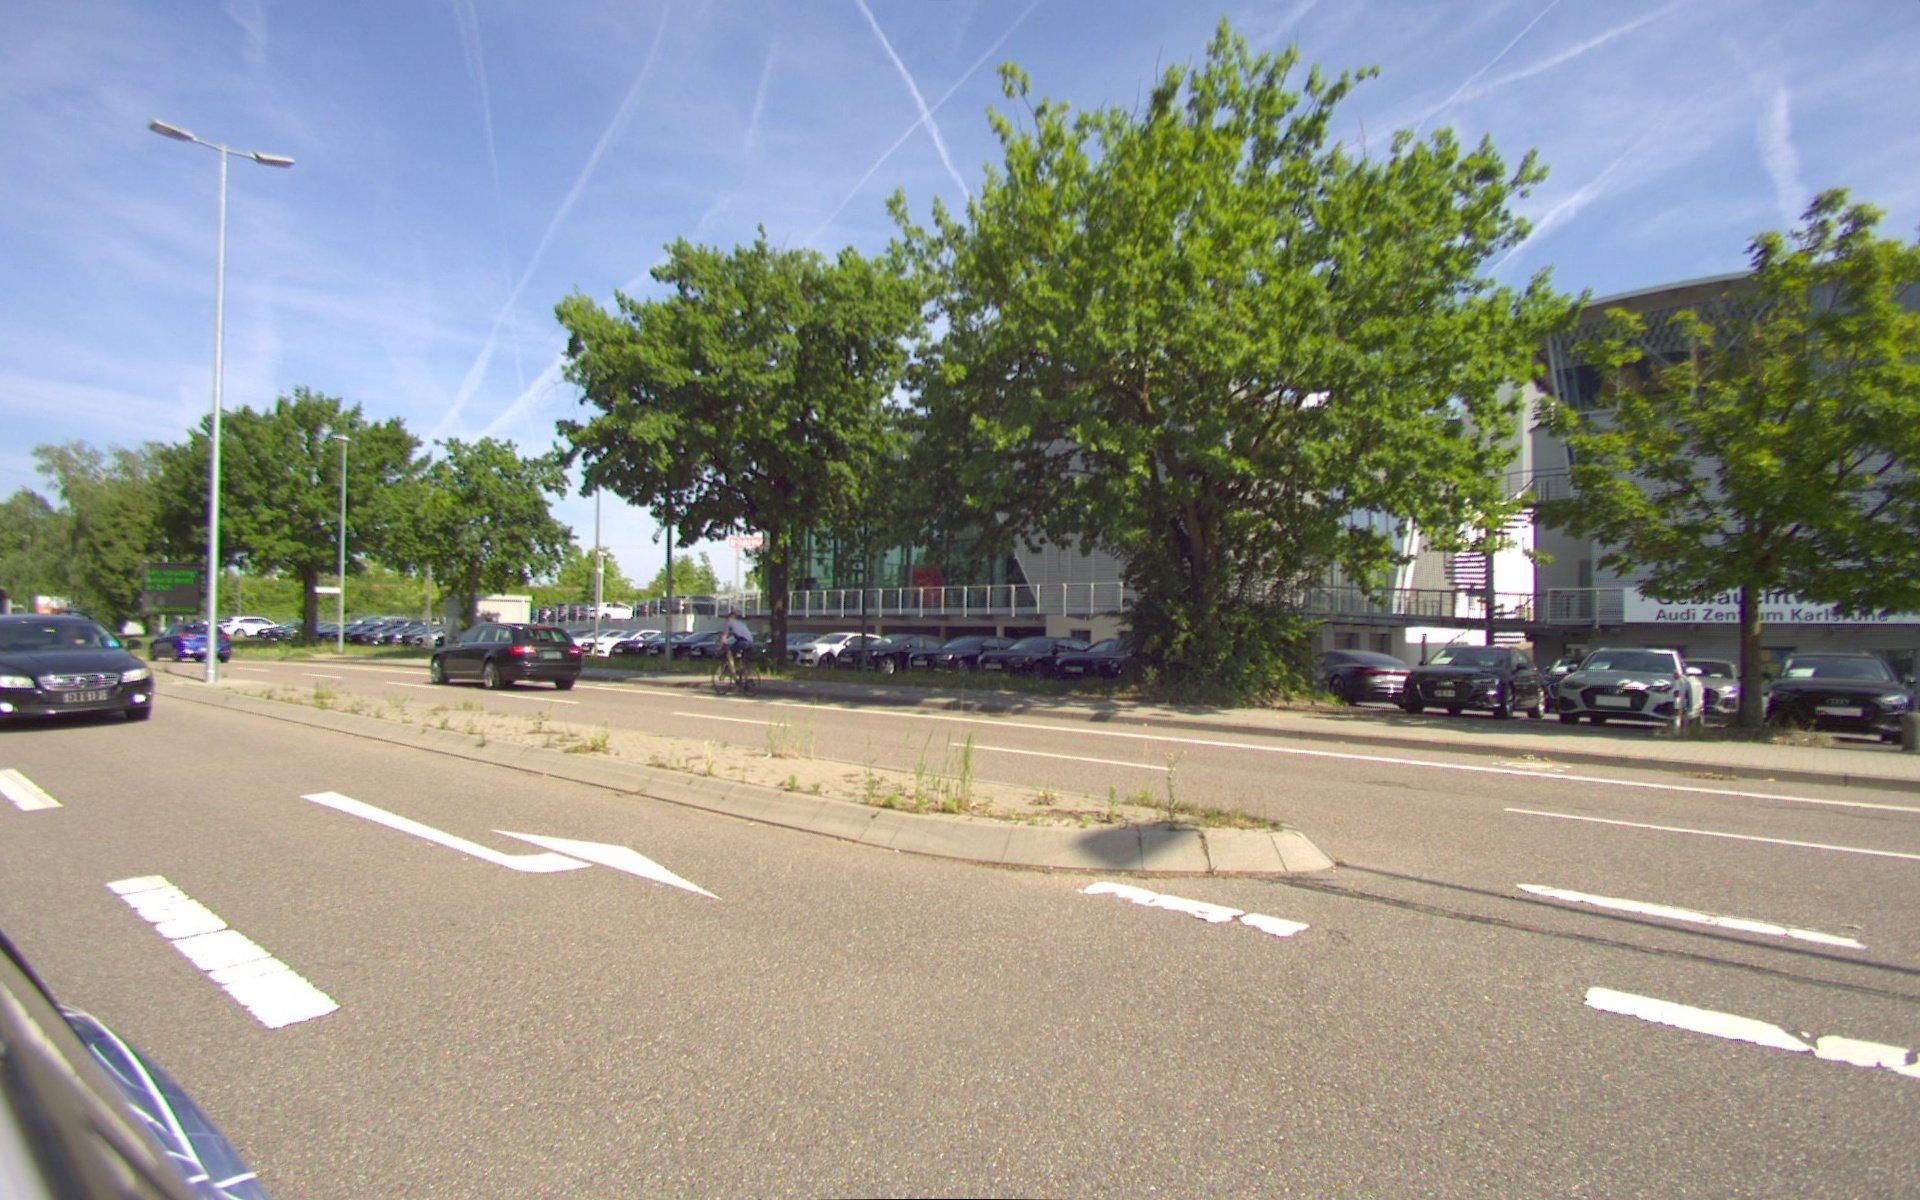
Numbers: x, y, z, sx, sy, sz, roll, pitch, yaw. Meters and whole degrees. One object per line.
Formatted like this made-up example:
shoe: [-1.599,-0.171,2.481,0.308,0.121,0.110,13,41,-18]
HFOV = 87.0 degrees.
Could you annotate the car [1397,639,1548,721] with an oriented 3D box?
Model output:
car: [10.063,1.573,19.737,1.807,1.412,3.984,-1,-5,39]

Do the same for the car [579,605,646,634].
car: [-25.018,1.431,72.960,1.689,1.745,4.142,-1,-5,41]

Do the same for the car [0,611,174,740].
car: [-12.978,0.955,14.232,4.861,1.533,1.860,-1,-1,37]

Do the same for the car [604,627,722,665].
car: [-11.634,1.838,39.877,1.689,1.309,4.142,-1,-5,42]

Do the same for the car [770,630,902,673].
car: [-3.972,1.701,32.978,1.689,1.204,4.142,-1,-5,42]

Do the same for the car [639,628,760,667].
car: [-9.726,1.808,38.053,1.689,1.269,4.142,-1,-5,42]

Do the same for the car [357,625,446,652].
car: [-32.072,2.249,58.198,1.689,1.333,4.142,-1,-5,42]

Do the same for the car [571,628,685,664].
car: [-13.631,1.923,41.675,1.689,1.265,4.142,-1,-5,42]

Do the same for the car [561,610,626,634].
car: [-27.026,1.620,74.695,1.689,1.511,4.142,-1,-5,41]

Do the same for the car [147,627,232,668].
car: [-29.434,1.793,38.633,3.866,1.449,1.711,-1,-4,40]

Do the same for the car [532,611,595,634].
car: [-30.471,1.748,77.774,1.689,1.511,4.142,-1,-5,41]

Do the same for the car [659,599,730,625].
car: [-17.237,0.800,65.858,1.689,1.416,4.142,-1,-5,41]

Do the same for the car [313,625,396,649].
car: [-38.059,2.335,63.694,1.689,1.333,4.142,-1,-5,42]

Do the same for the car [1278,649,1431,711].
car: [9.486,1.895,24.674,1.662,1.343,3.848,1,-3,-11]

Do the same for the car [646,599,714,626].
car: [-18.797,0.873,68.077,1.689,1.511,4.142,-1,-5,41]

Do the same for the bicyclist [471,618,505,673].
bicyclist: [-14.096,1.365,30.228,0.910,1.608,0.570,-2,-4,44]

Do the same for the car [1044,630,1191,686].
car: [4.127,1.519,26.056,1.796,1.236,4.142,-1,-5,42]

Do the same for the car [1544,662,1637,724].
car: [17.268,2.480,27.632,1.688,1.484,3.779,-1,-3,39]

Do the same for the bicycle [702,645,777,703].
bicycle: [-4.706,1.543,21.551,1.925,1.159,0.565,-2,-3,44]

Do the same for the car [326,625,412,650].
car: [-35.919,2.292,61.558,1.689,1.333,4.142,-1,-5,42]

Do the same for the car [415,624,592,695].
car: [-10.452,1.326,23.017,4.661,1.471,1.827,-1,-5,41]

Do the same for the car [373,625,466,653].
car: [-29.972,2.181,56.203,1.689,1.333,4.142,-1,-5,42]

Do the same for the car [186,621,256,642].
car: [-58.505,2.530,80.197,1.689,1.389,4.142,-1,-5,41]

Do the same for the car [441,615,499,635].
car: [-42.626,2.179,88.087,1.689,1.511,4.142,-1,-5,41]

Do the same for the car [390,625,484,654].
car: [-28.258,2.155,54.801,1.689,1.333,4.142,-1,-5,42]

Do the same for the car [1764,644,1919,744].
car: [14.103,1.498,16.233,1.833,1.365,4.069,-1,-5,39]

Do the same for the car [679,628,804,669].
car: [-7.744,1.742,36.226,1.689,1.264,4.142,-1,-5,42]

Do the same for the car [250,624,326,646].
car: [-47.920,2.491,72.247,1.689,1.333,4.142,-1,-5,42]

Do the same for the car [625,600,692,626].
car: [-20.798,0.948,69.938,1.689,1.511,4.142,-1,-5,41]

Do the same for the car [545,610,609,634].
car: [-28.796,1.670,76.214,1.689,1.511,4.142,-1,-5,41]

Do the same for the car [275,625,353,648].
car: [-43.888,2.482,68.824,1.689,1.333,4.142,-1,-5,42]

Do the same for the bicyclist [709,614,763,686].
bicyclist: [-4.803,1.056,21.669,1.143,1.494,0.564,-2,-3,44]

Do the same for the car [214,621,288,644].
car: [-52.583,2.441,75.151,1.689,1.511,4.142,-1,-5,41]

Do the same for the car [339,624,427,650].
car: [-34.058,2.188,59.842,1.689,1.333,4.142,-1,-5,42]

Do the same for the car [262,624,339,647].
car: [-45.830,2.489,70.396,1.689,1.333,4.142,-1,-5,41]

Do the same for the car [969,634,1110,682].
car: [2.246,1.618,27.774,1.695,1.143,4.142,-1,-5,42]

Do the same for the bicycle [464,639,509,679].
bicycle: [-14.170,1.752,30.277,1.770,1.159,0.565,-2,-4,44]

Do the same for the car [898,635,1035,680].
car: [0.254,1.694,29.684,1.719,1.131,4.142,-1,-5,42]

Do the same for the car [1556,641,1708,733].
car: [12.006,1.549,17.967,1.801,1.405,4.173,-1,-5,40]

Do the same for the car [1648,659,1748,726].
car: [19.065,2.322,26.093,1.803,1.484,3.778,-1,-3,40]

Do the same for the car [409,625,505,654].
car: [-26.343,2.099,53.127,1.689,1.333,4.142,-1,-5,42]

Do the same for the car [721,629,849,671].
car: [-5.899,1.728,34.498,1.689,1.215,4.142,-1,-5,42]

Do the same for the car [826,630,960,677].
car: [-2.023,1.678,31.418,1.689,1.256,4.142,-1,-5,42]

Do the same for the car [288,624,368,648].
car: [-41.916,2.416,67.215,1.689,1.333,4.142,-1,-5,42]
